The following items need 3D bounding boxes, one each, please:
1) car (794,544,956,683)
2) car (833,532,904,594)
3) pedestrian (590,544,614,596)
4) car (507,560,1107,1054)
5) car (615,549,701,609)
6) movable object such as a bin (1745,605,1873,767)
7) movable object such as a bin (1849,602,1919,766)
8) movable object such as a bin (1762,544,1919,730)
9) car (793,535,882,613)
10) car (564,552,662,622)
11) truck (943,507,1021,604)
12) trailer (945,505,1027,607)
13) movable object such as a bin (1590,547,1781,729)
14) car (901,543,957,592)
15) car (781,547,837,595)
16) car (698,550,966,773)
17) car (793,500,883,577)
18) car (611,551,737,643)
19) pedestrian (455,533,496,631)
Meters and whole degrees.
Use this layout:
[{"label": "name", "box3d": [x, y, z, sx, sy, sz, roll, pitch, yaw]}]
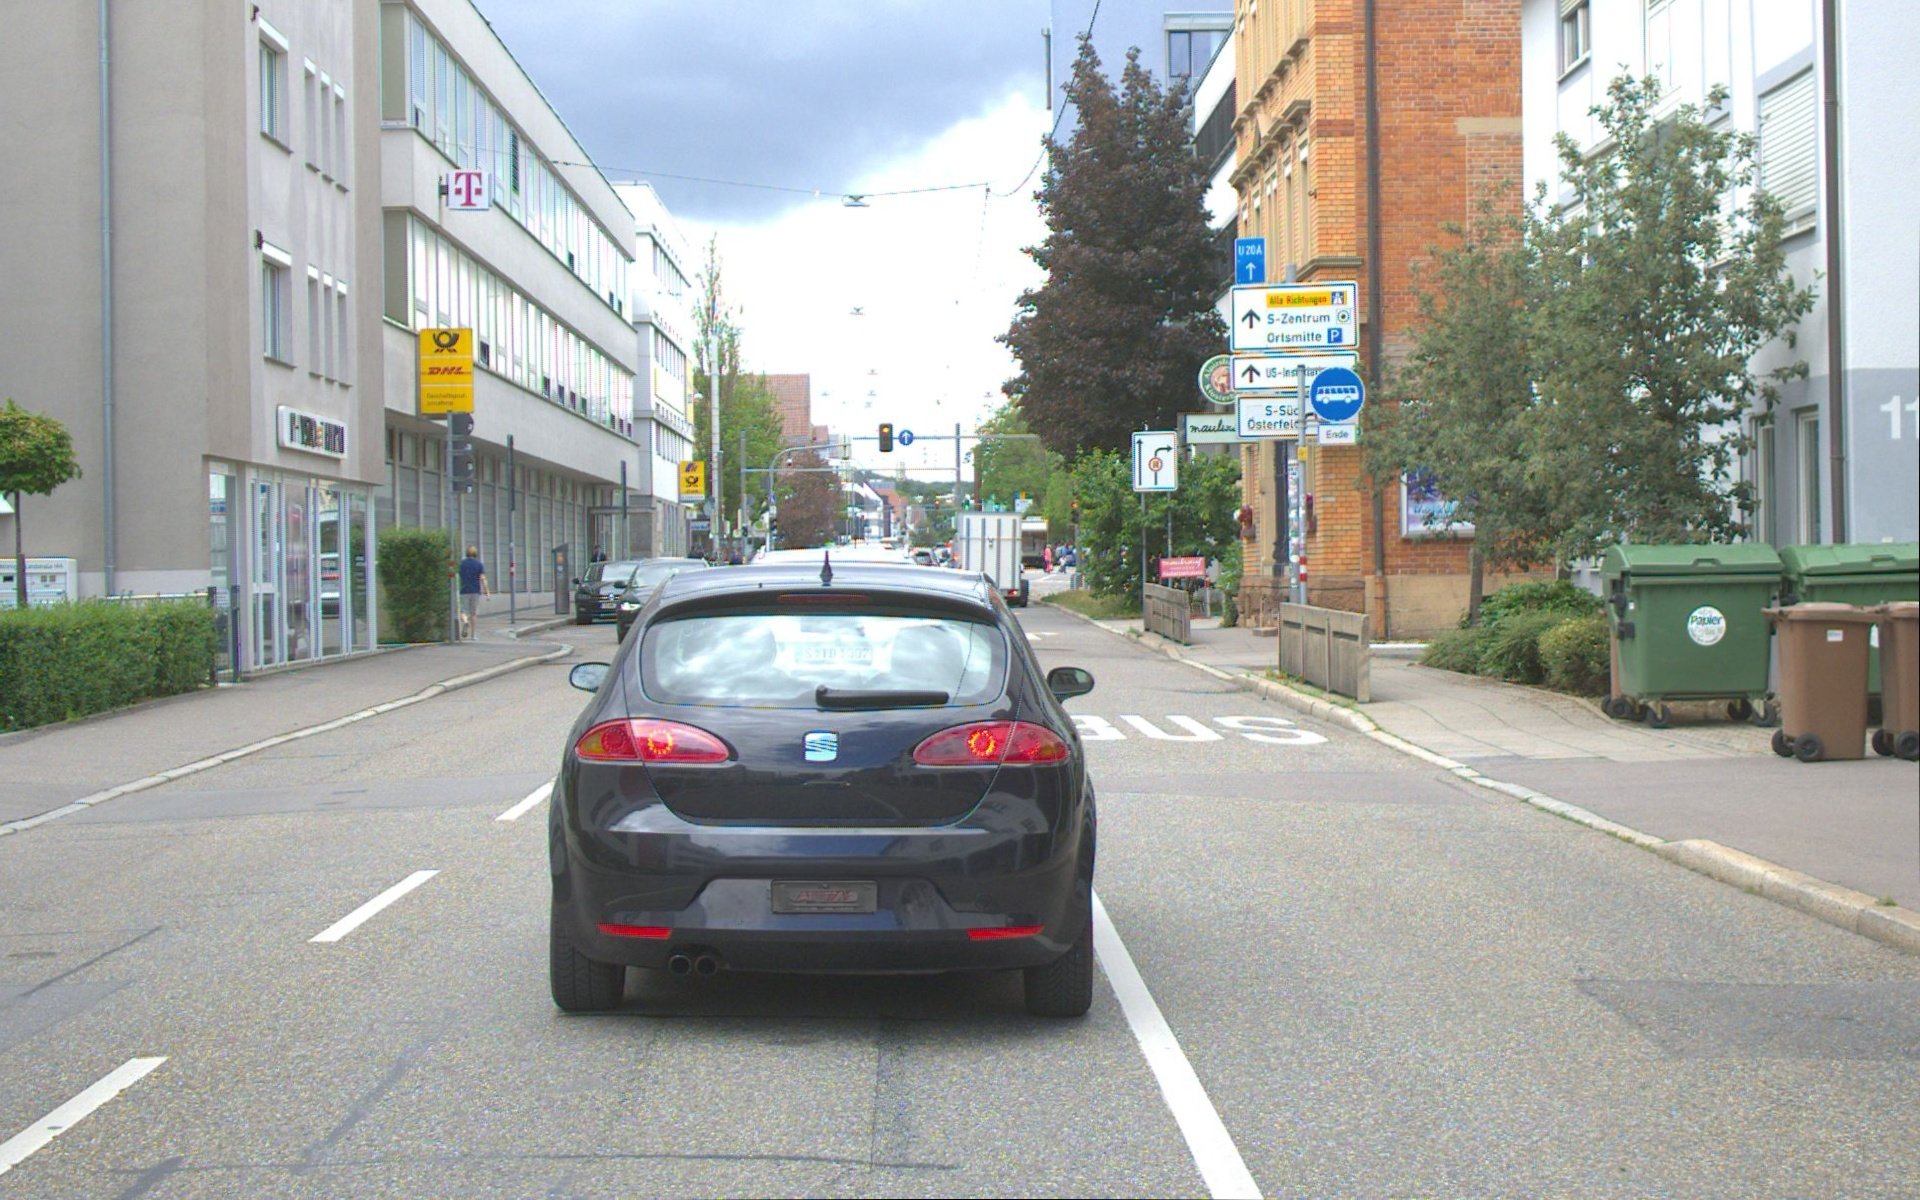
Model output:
[{"label": "car", "box3d": [-1.003, 0.123, 40.506, 1.803, 1.547, 3.738, -1, 1, -1]}, {"label": "car", "box3d": [-2.387, -0.976, 90.133, 1.803, 1.596, 3.738, 1, 1, -1]}, {"label": "pedestrian", "box3d": [-11.156, -0.936, 107.204, 0.656, 1.617, 0.681, -1, 1, 0]}, {"label": "car", "box3d": [-0.478, 0.591, 12.101, 1.765, 1.428, 3.828, 0, 1, -1]}, {"label": "car", "box3d": [-8.006, -0.576, 91.451, 1.993, 1.511, 4.175, -1, 1, -1]}, {"label": "movable object such as a bin", "box3d": [5.814, 0.580, 23.580, 0.683, 1.063, 0.971, 0, 1, 3]}, {"label": "movable object such as a bin", "box3d": [6.544, 0.564, 23.557, 0.698, 1.075, 0.971, 0, 1, 3]}, {"label": "movable object such as a bin", "box3d": [7.144, 0.275, 27.235, 1.267, 1.430, 1.307, 0, 1, 0]}, {"label": "car", "box3d": [-2.559, -0.565, 72.388, 1.803, 1.596, 3.738, 1, 1, -1]}, {"label": "car", "box3d": [-8.015, -0.329, 79.786, 1.912, 1.511, 4.175, -2, 1, -1]}, {"label": "truck", "box3d": [0.588, -1.230, 94.440, 1.993, 2.598, 3.260, -1, 1, -1]}, {"label": "trailer", "box3d": [0.662, -1.179, 91.629, 1.993, 2.598, 5.350, -1, 1, -1]}, {"label": "movable object such as a bin", "box3d": [5.786, 0.287, 27.499, 1.267, 1.412, 1.162, 0, 1, 0]}, {"label": "car", "box3d": [-1.064, -1.113, 116.790, 1.803, 1.596, 3.738, 1, 1, -1]}, {"label": "car", "box3d": [-5.823, -1.133, 133.200, 1.993, 1.733, 4.554, -3, 1, -1]}, {"label": "car", "box3d": [-0.912, 0.385, 25.132, 1.803, 1.487, 3.738, -1, 1, -1]}, {"label": "car", "box3d": [-2.539, -1.280, 72.080, 1.803, 1.547, 3.738, -1, 1, -1]}, {"label": "car", "box3d": [-4.988, -0.078, 60.376, 1.878, 1.446, 4.214, -3, 1, -1]}, {"label": "pedestrian", "box3d": [-8.763, -0.333, 62.146, 0.642, 1.763, 0.810, -1, 1, -3]}]
